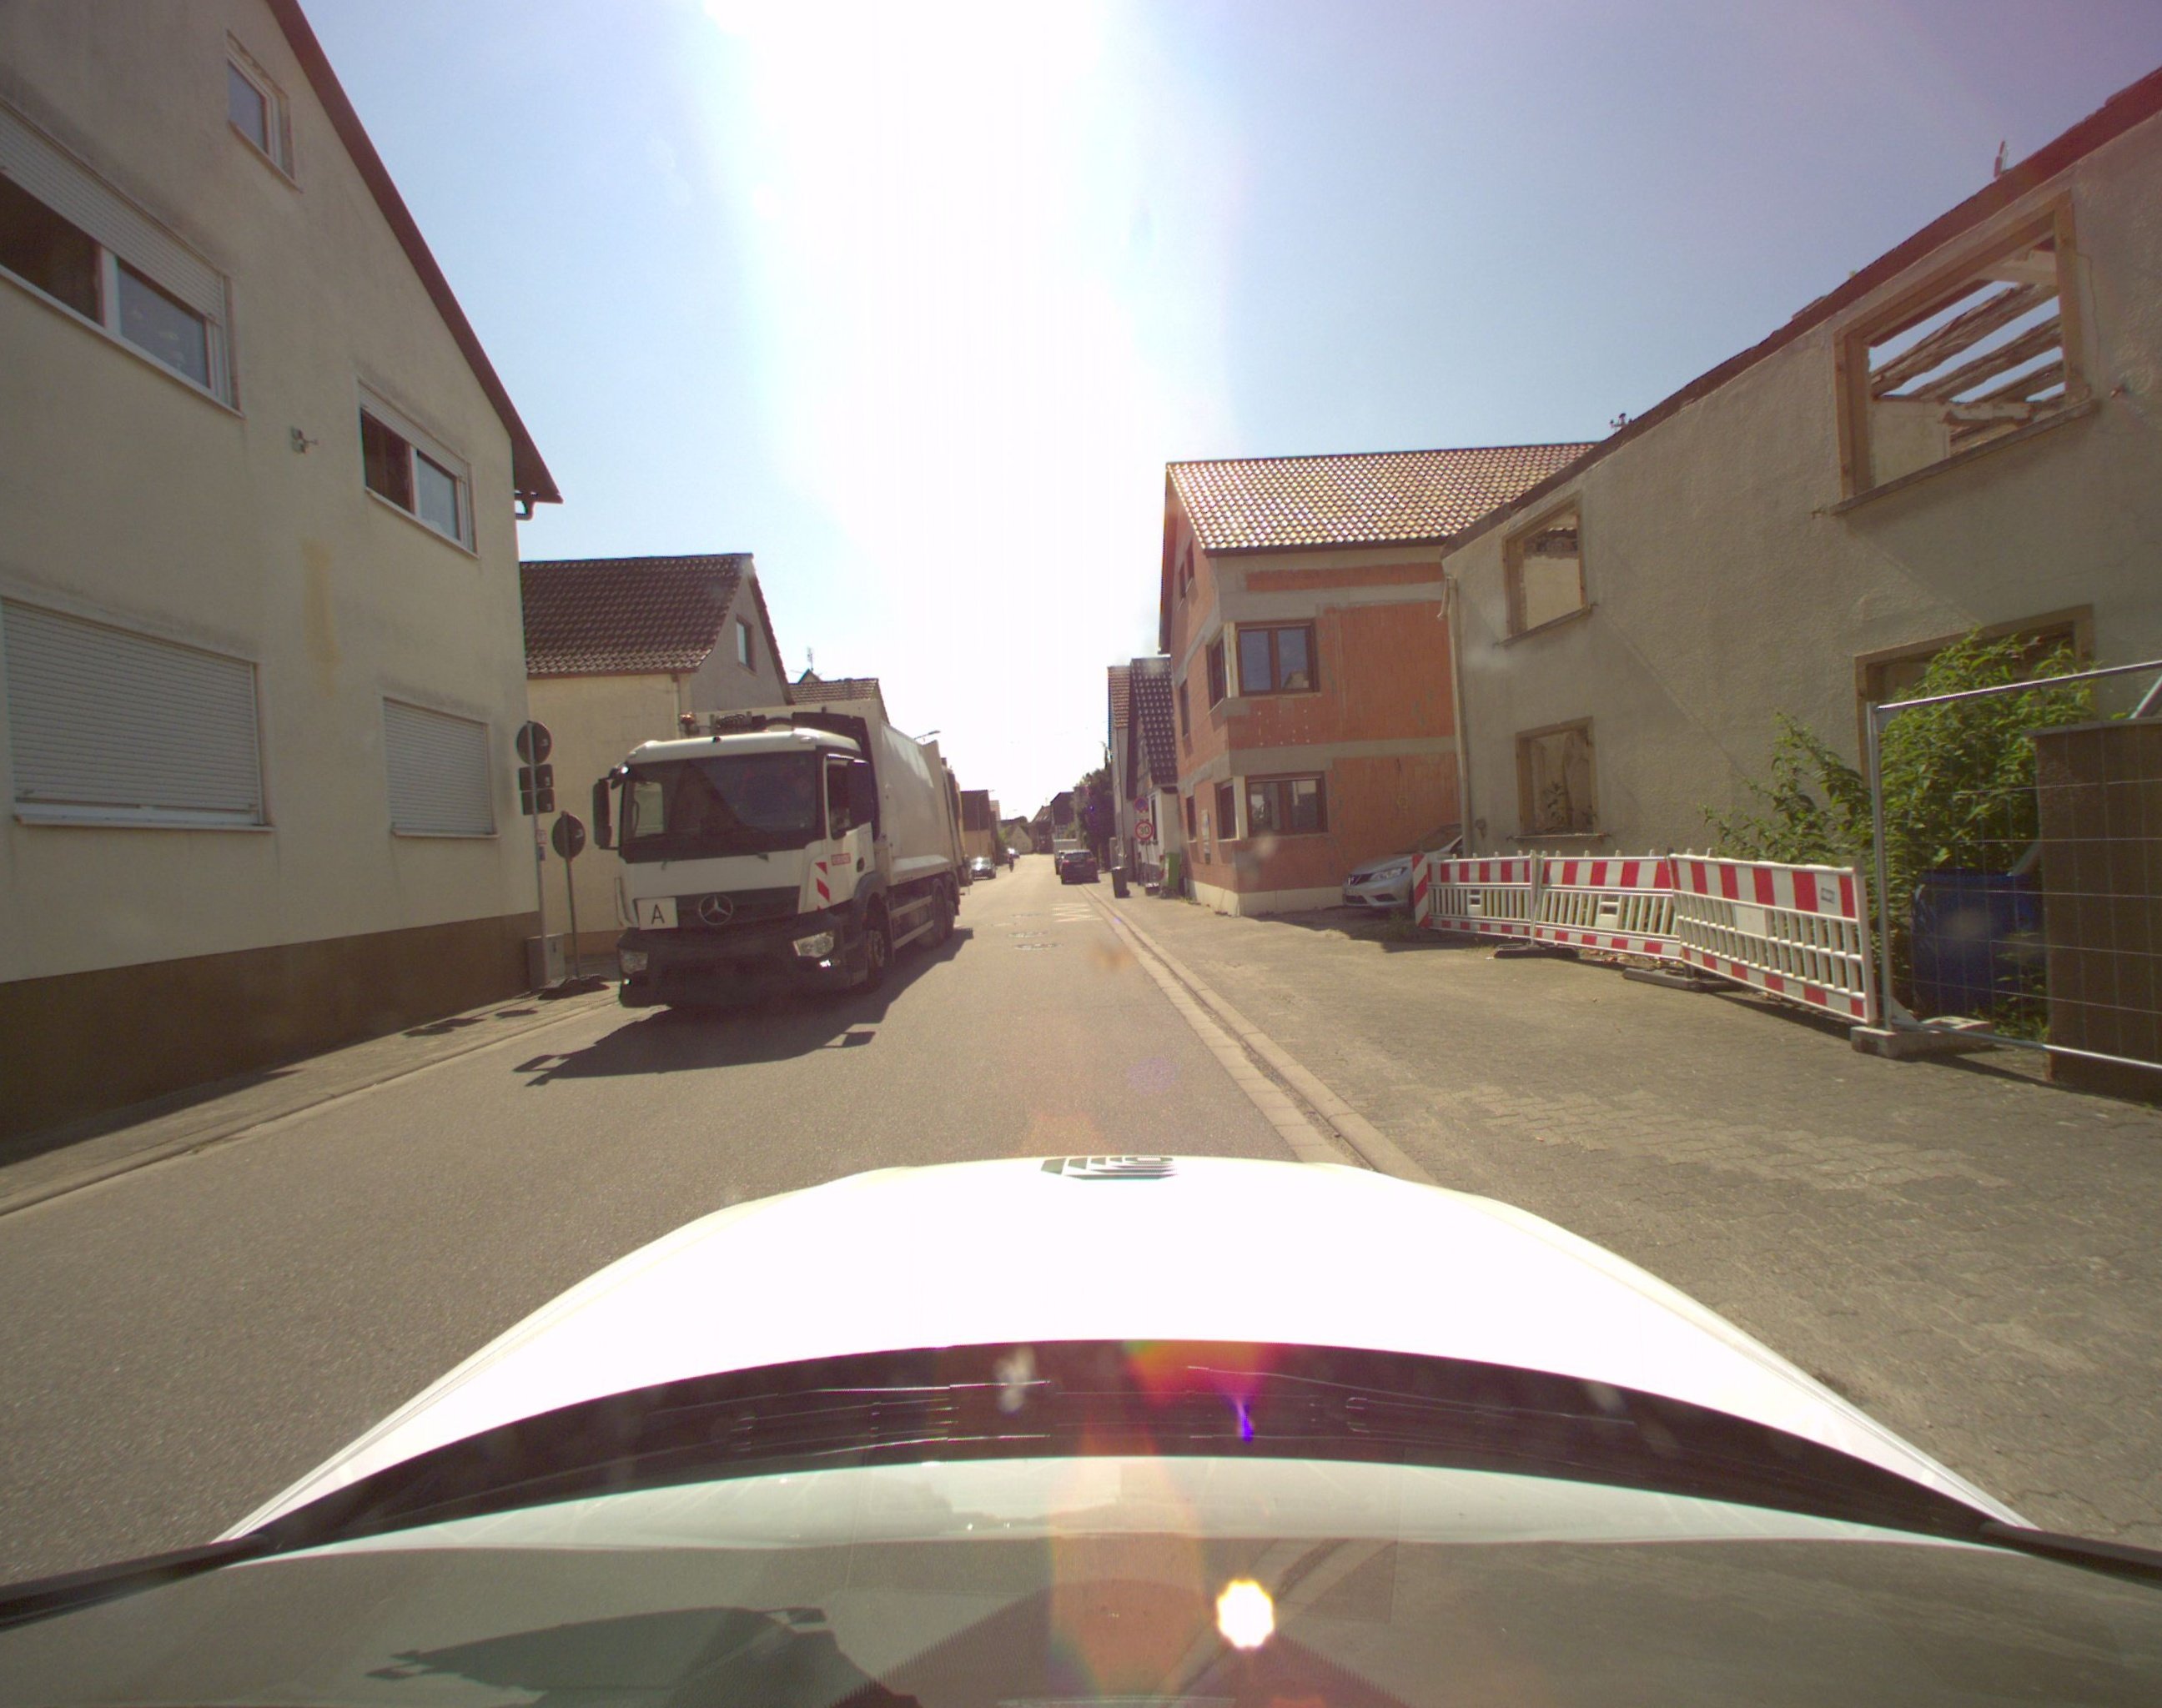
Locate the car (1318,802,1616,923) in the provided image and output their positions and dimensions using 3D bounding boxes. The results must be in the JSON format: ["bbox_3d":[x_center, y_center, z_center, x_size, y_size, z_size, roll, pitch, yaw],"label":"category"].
[{"bbox_3d":[6.341,0.114,13.621,4.086,1.507,1.865,-5,1,-8],"label":"car"}]

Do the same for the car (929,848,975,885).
[{"bbox_3d":[-7.189,0.664,45.935,1.830,1.837,4.351,-5,1,-1],"label":"car"}]

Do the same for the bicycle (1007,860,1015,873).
[{"bbox_3d":[-6.476,1.125,75.248,0.588,1.148,1.945,-5,1,-5],"label":"bicycle"}]

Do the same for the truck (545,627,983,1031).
[{"bbox_3d":[-3.719,-0.276,13.326,2.687,3.750,10.867,-4,0,0],"label":"truck"}]

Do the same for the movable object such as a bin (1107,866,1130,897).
[{"bbox_3d":[1.177,0.850,25.644,0.534,0.913,0.554,-4,0,15],"label":"movable object such as a bin"}]

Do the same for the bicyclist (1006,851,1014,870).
[{"bbox_3d":[-6.588,0.600,75.534,0.703,1.770,0.623,-4,0,-6],"label":"bicyclist"}]

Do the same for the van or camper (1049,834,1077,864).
[{"bbox_3d":[-1.830,-0.535,81.173,2.516,2.696,4.550,-5,1,-3],"label":"van or camper"}]

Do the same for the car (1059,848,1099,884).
[{"bbox_3d":[-0.158,0.542,40.766,1.793,1.560,4.629,-5,1,-1],"label":"car"}]

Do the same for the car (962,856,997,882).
[{"bbox_3d":[-7.101,1.031,57.531,1.839,1.526,4.763,-5,1,-1],"label":"car"}]

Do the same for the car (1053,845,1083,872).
[{"bbox_3d":[-0.897,0.303,57.213,1.787,1.630,4.362,-5,1,1],"label":"car"}]
